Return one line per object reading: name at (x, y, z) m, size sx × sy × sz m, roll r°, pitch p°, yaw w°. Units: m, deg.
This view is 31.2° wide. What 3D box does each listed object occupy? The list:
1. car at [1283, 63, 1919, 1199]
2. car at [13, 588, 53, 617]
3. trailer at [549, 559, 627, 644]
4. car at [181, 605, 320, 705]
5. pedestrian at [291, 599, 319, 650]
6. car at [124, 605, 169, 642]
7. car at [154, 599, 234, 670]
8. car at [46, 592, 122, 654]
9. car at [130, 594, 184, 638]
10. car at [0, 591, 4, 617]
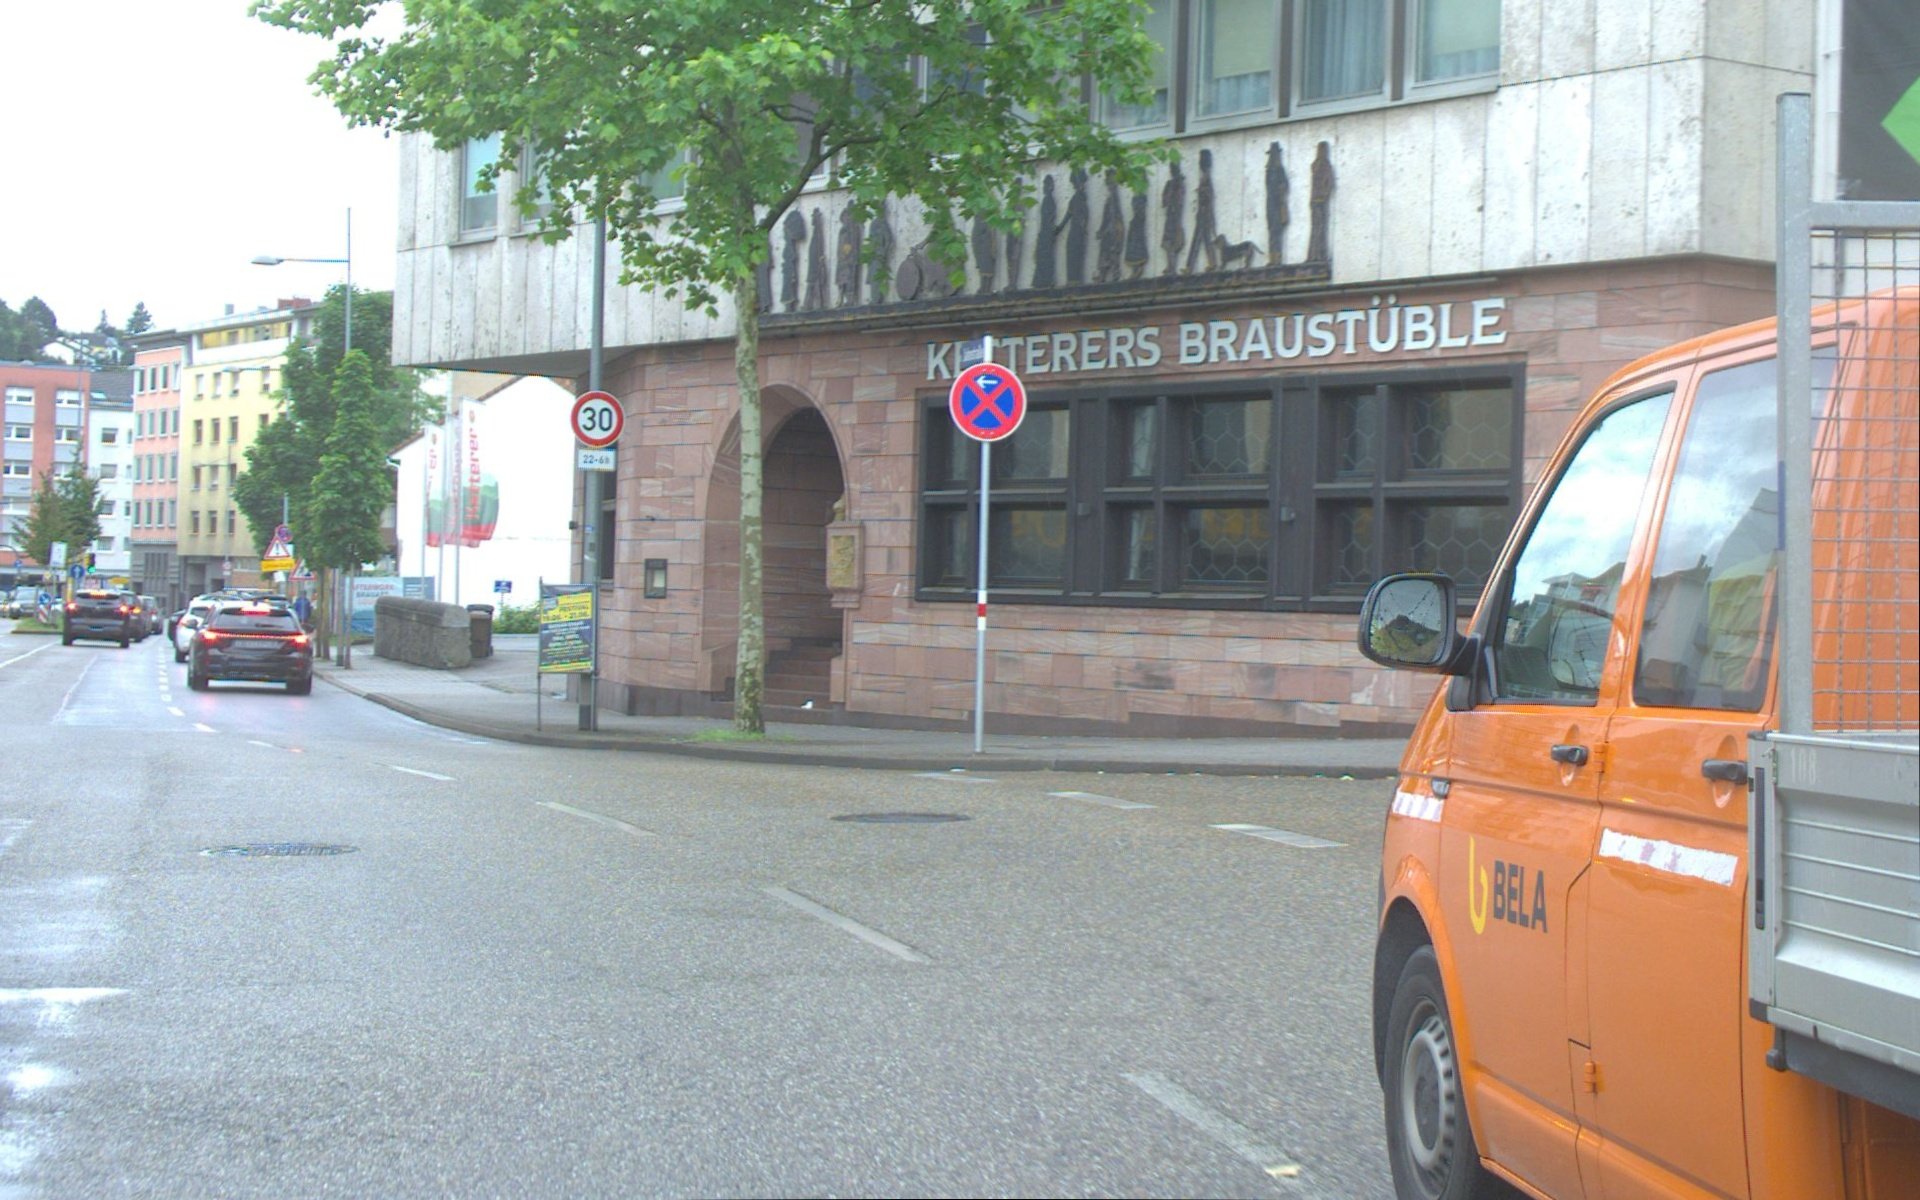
car at (2.060, 0.403, 5.409) m, size 2.101 × 2.082 × 5.542 m, roll 0°, pitch 0°, yaw -5°
car at (-45.540, 0.134, 168.893) m, size 1.720 × 1.418 × 4.166 m, roll 0°, pitch 0°, yaw -13°
trailer at (-12.246, 0.015, 112.821) m, size 2.126 × 2.707 × 5.392 m, roll 0°, pitch 0°, yaw -11°
car at (-11.466, 0.862, 55.376) m, size 1.789 × 1.398 × 4.635 m, roll 4°, pitch -1°, yaw -16°
pedestrian at (-22.805, 0.849, 119.756) m, size 0.791 × 1.749 × 0.871 m, roll 1°, pitch 0°, yaw 1°
car at (-31.466, 0.904, 133.005) m, size 1.640 × 1.376 × 3.349 m, roll 1°, pitch 0°, yaw -14°
car at (-17.617, 0.783, 78.964) m, size 1.664 × 1.391 × 3.868 m, roll 3°, pitch 1°, yaw -13°
car at (-24.628, 0.650, 96.709) m, size 1.822 × 1.595 × 3.719 m, roll 4°, pitch -1°, yaw -12°
car at (-26.050, 0.510, 111.507) m, size 1.640 × 1.376 × 3.349 m, roll 1°, pitch 0°, yaw -14°
car at (-53.458, 0.246, 188.463) m, size 1.720 × 1.418 × 4.166 m, roll 0°, pitch 0°, yaw -20°
